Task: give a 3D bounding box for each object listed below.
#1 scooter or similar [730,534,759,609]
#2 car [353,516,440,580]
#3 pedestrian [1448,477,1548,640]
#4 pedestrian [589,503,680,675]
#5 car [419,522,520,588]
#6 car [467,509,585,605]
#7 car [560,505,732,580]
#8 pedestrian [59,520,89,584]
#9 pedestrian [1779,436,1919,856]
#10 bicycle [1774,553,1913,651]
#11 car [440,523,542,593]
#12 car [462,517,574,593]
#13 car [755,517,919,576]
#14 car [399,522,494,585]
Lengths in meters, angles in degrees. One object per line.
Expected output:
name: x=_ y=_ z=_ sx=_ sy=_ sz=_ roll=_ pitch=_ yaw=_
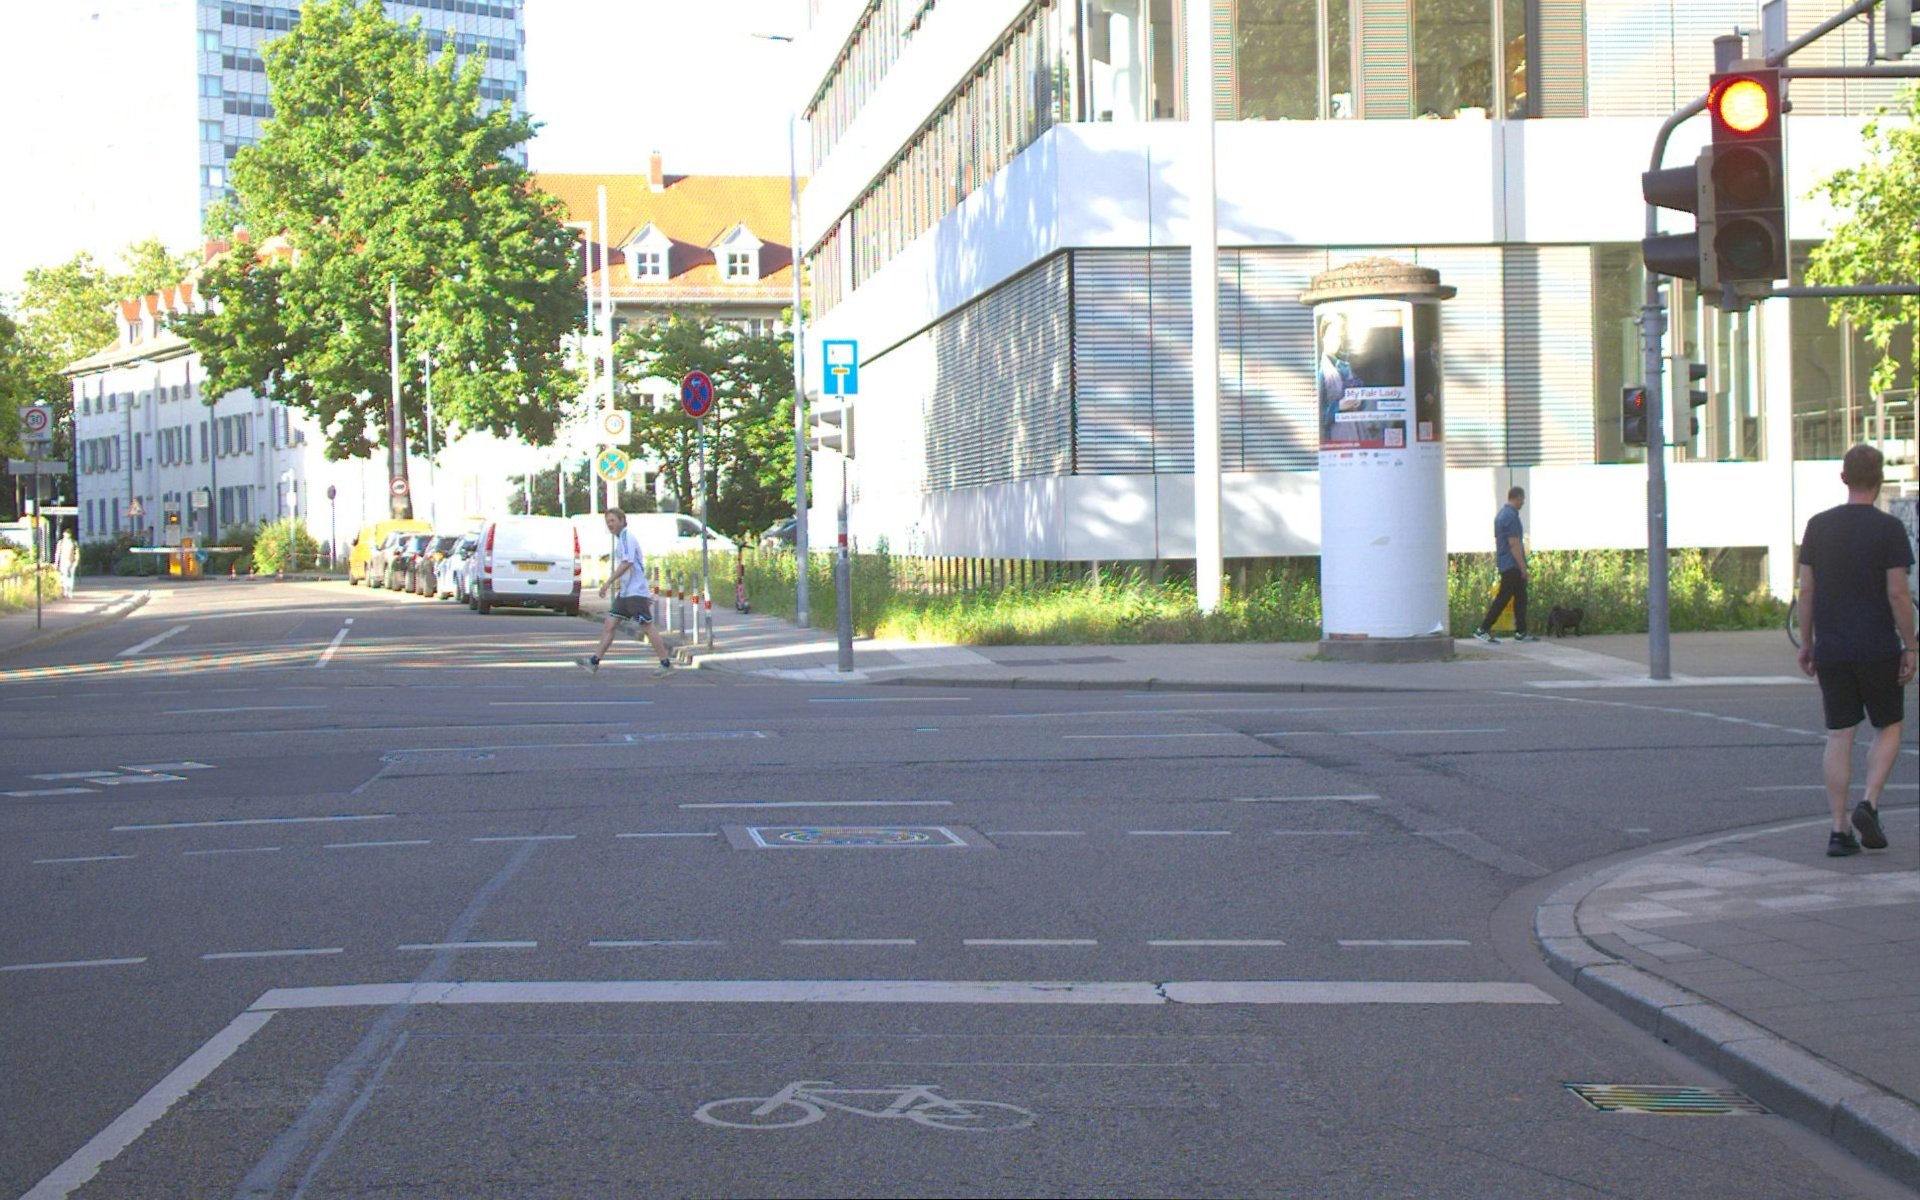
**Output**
scooter or similar: x=-3.657 y=-0.491 z=58.304 sx=0.437 sy=1.252 sz=1.420 roll=-1 pitch=1 yaw=-4
car: x=-15.736 y=-1.445 z=95.848 sx=1.993 sy=1.719 sz=4.653 roll=1 pitch=1 yaw=-14
pedestrian: x=6.085 y=-0.470 z=38.903 sx=0.914 sy=1.809 sz=0.762 roll=1 pitch=0 yaw=-8
pedestrian: x=-3.569 y=-0.122 z=37.713 sx=0.914 sy=1.862 sz=0.742 roll=1 pitch=0 yaw=-1
car: x=-11.624 y=-1.056 z=81.268 sx=1.993 sy=1.493 sz=4.288 roll=1 pitch=1 yaw=-13
car: x=-8.217 y=-0.814 z=64.835 sx=1.993 sy=1.719 sz=4.653 roll=1 pitch=1 yaw=-10
car: x=-9.400 y=-1.697 z=102.944 sx=4.791 sy=2.151 sz=2.001 roll=1 pitch=0 yaw=-17
pedestrian: x=-22.044 y=-1.200 z=85.534 sx=0.699 sy=1.581 sz=0.637 roll=1 pitch=0 yaw=-16
pedestrian: x=4.006 y=0.194 z=15.215 sx=0.700 sy=1.804 sz=0.719 roll=1 pitch=0 yaw=12
bicycle: x=9.287 y=0.015 z=36.161 sx=0.378 sy=1.005 sz=1.432 roll=-2 pitch=2 yaw=-42
car: x=-10.502 y=-0.931 z=76.821 sx=1.993 sy=1.493 sz=4.653 roll=1 pitch=1 yaw=-11
car: x=-9.169 y=-0.931 z=71.049 sx=1.993 sy=1.493 sz=4.653 roll=1 pitch=1 yaw=-11
car: x=-3.752 y=-1.626 z=104.787 sx=4.635 sy=1.719 sz=2.001 roll=1 pitch=0 yaw=-16
car: x=-12.877 y=-1.159 z=85.992 sx=1.993 sy=1.493 sz=4.653 roll=1 pitch=1 yaw=-13
